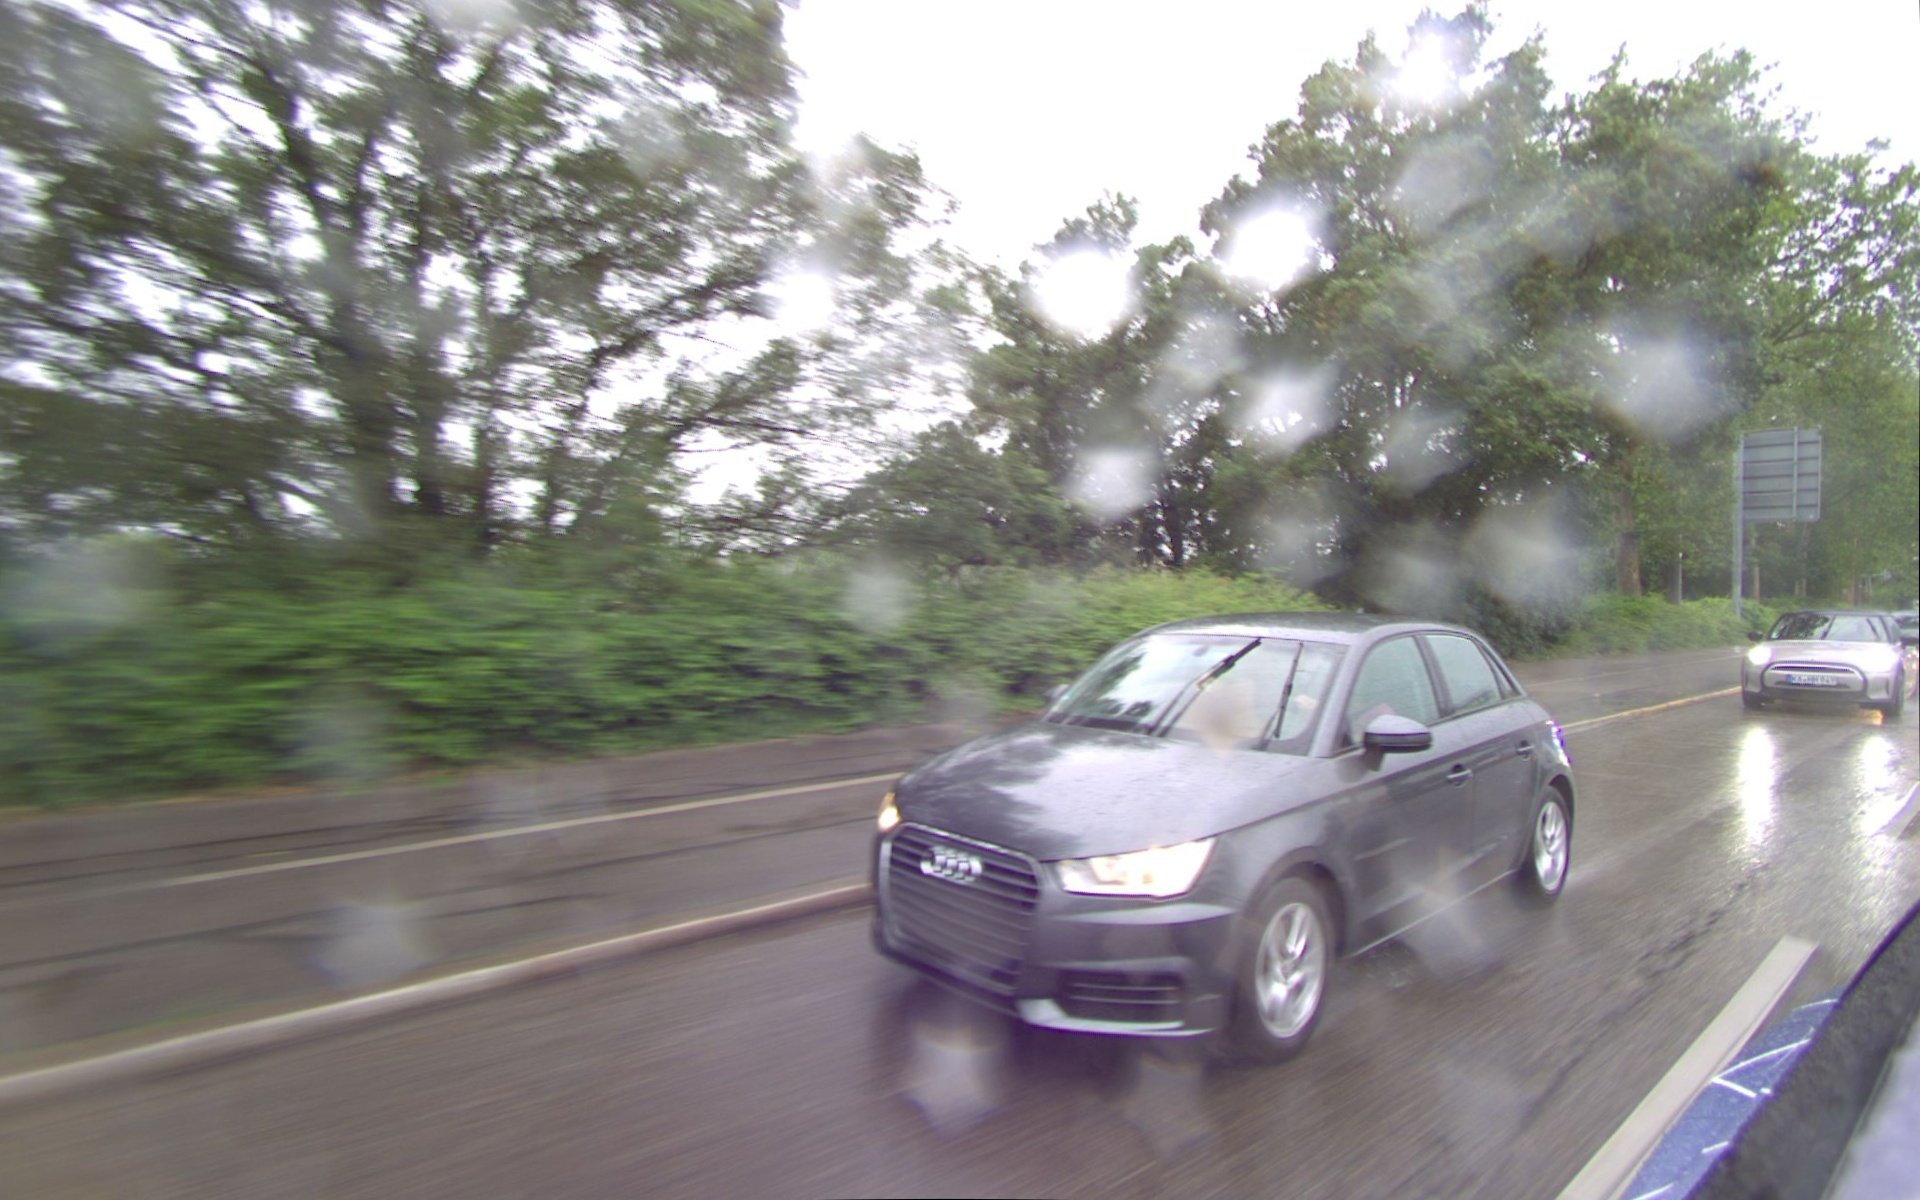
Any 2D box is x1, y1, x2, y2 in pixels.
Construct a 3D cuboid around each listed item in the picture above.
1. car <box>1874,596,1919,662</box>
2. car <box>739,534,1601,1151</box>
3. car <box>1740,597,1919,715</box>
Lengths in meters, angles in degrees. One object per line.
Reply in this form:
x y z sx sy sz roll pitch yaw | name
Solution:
23.241 0.696 24.165 4.023 1.480 1.773 2 -2 -43 | car
1.225 0.634 4.624 3.923 1.548 1.970 1 -1 -43 | car
12.759 0.691 14.617 3.789 1.432 1.793 -1 1 -43 | car
